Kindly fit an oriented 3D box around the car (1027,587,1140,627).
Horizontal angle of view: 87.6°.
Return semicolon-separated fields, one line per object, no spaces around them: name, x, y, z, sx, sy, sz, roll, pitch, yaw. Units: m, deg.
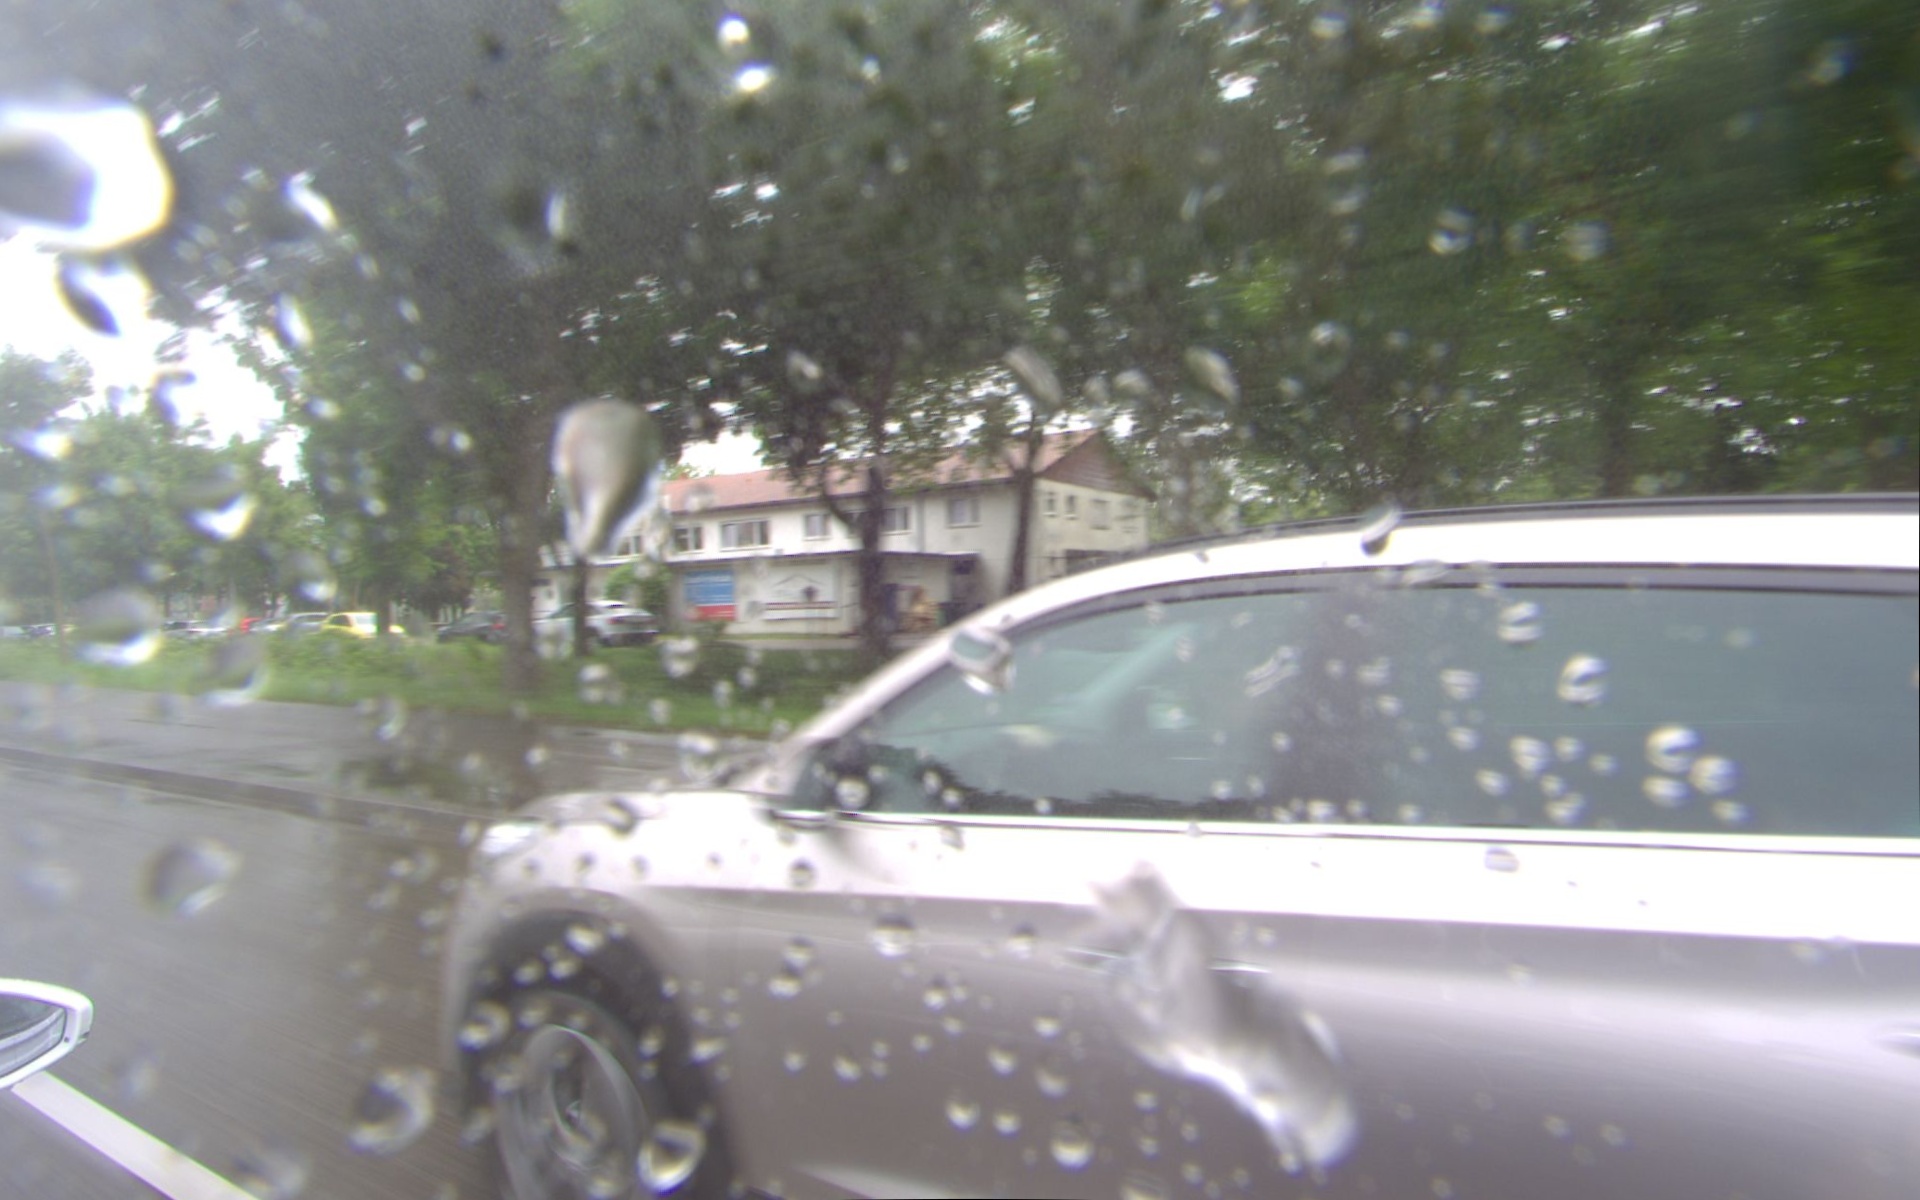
car;4.626;0.296;37.724;3.941;1.403;1.581;-2;-2;31

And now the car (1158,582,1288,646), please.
car;6.008;0.357;23.232;1.497;1.369;3.386;0;-2;-13

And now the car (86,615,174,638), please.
car;-59.205;1.890;71.479;1.920;1.577;4.556;-2;-2;36

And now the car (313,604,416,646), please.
car;-22.575;0.975;37.934;4.013;1.505;1.635;-2;-2;31

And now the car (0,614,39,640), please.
car;-58.978;1.660;62.231;4.065;1.465;1.739;1;2;35

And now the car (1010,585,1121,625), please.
car;3.759;0.205;35.883;3.647;1.333;1.570;-2;-1;30

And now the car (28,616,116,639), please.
car;-66.677;2.089;75.238;1.969;1.666;4.569;-1;-2;27

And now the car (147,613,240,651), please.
car;-35.996;1.517;46.985;4.577;1.647;1.988;-2;1;33

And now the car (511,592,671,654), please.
car;-11.361;0.716;30.745;4.807;1.740;1.990;-2;1;31

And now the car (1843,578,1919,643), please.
car;22.689;0.275;24.109;1.647;1.467;3.701;-1;-2;34

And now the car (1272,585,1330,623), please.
car;14.418;0.217;42.199;1.709;1.474;3.985;-1;-2;28

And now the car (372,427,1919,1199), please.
car;0.681;0.660;2.370;4.135;1.631;1.881;-1;-1;32

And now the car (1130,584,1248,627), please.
car;8.786;0.260;38.518;4.060;1.519;1.748;-2;-2;35

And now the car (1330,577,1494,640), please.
car;11.175;0.258;25.052;1.641;1.467;3.745;0;-2;-18

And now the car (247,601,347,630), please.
car;-37.121;0.902;56.184;1.895;1.522;4.331;-1;-2;29

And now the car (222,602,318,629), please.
car;-40.982;0.962;59.602;1.916;1.503;4.331;-1;-2;29

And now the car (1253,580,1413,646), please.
car;8.893;0.358;24.227;1.641;1.467;3.745;0;-2;-18

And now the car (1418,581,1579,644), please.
car;13.586;0.349;25.514;1.638;1.467;3.751;0;-2;-10

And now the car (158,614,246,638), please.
car;-48.689;1.675;64.399;1.734;1.503;4.185;-1;-2;29

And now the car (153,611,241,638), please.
car;-51.297;1.675;67.380;1.916;1.747;4.331;-1;-2;29

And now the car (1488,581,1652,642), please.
car;15.787;0.346;26.162;1.573;1.467;3.751;0;-2;-9

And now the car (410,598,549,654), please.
car;-16.218;0.865;33.767;4.574;1.740;1.990;-2;1;31

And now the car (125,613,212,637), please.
car;-54.402;1.755;68.874;1.916;1.577;4.331;-1;-2;29
